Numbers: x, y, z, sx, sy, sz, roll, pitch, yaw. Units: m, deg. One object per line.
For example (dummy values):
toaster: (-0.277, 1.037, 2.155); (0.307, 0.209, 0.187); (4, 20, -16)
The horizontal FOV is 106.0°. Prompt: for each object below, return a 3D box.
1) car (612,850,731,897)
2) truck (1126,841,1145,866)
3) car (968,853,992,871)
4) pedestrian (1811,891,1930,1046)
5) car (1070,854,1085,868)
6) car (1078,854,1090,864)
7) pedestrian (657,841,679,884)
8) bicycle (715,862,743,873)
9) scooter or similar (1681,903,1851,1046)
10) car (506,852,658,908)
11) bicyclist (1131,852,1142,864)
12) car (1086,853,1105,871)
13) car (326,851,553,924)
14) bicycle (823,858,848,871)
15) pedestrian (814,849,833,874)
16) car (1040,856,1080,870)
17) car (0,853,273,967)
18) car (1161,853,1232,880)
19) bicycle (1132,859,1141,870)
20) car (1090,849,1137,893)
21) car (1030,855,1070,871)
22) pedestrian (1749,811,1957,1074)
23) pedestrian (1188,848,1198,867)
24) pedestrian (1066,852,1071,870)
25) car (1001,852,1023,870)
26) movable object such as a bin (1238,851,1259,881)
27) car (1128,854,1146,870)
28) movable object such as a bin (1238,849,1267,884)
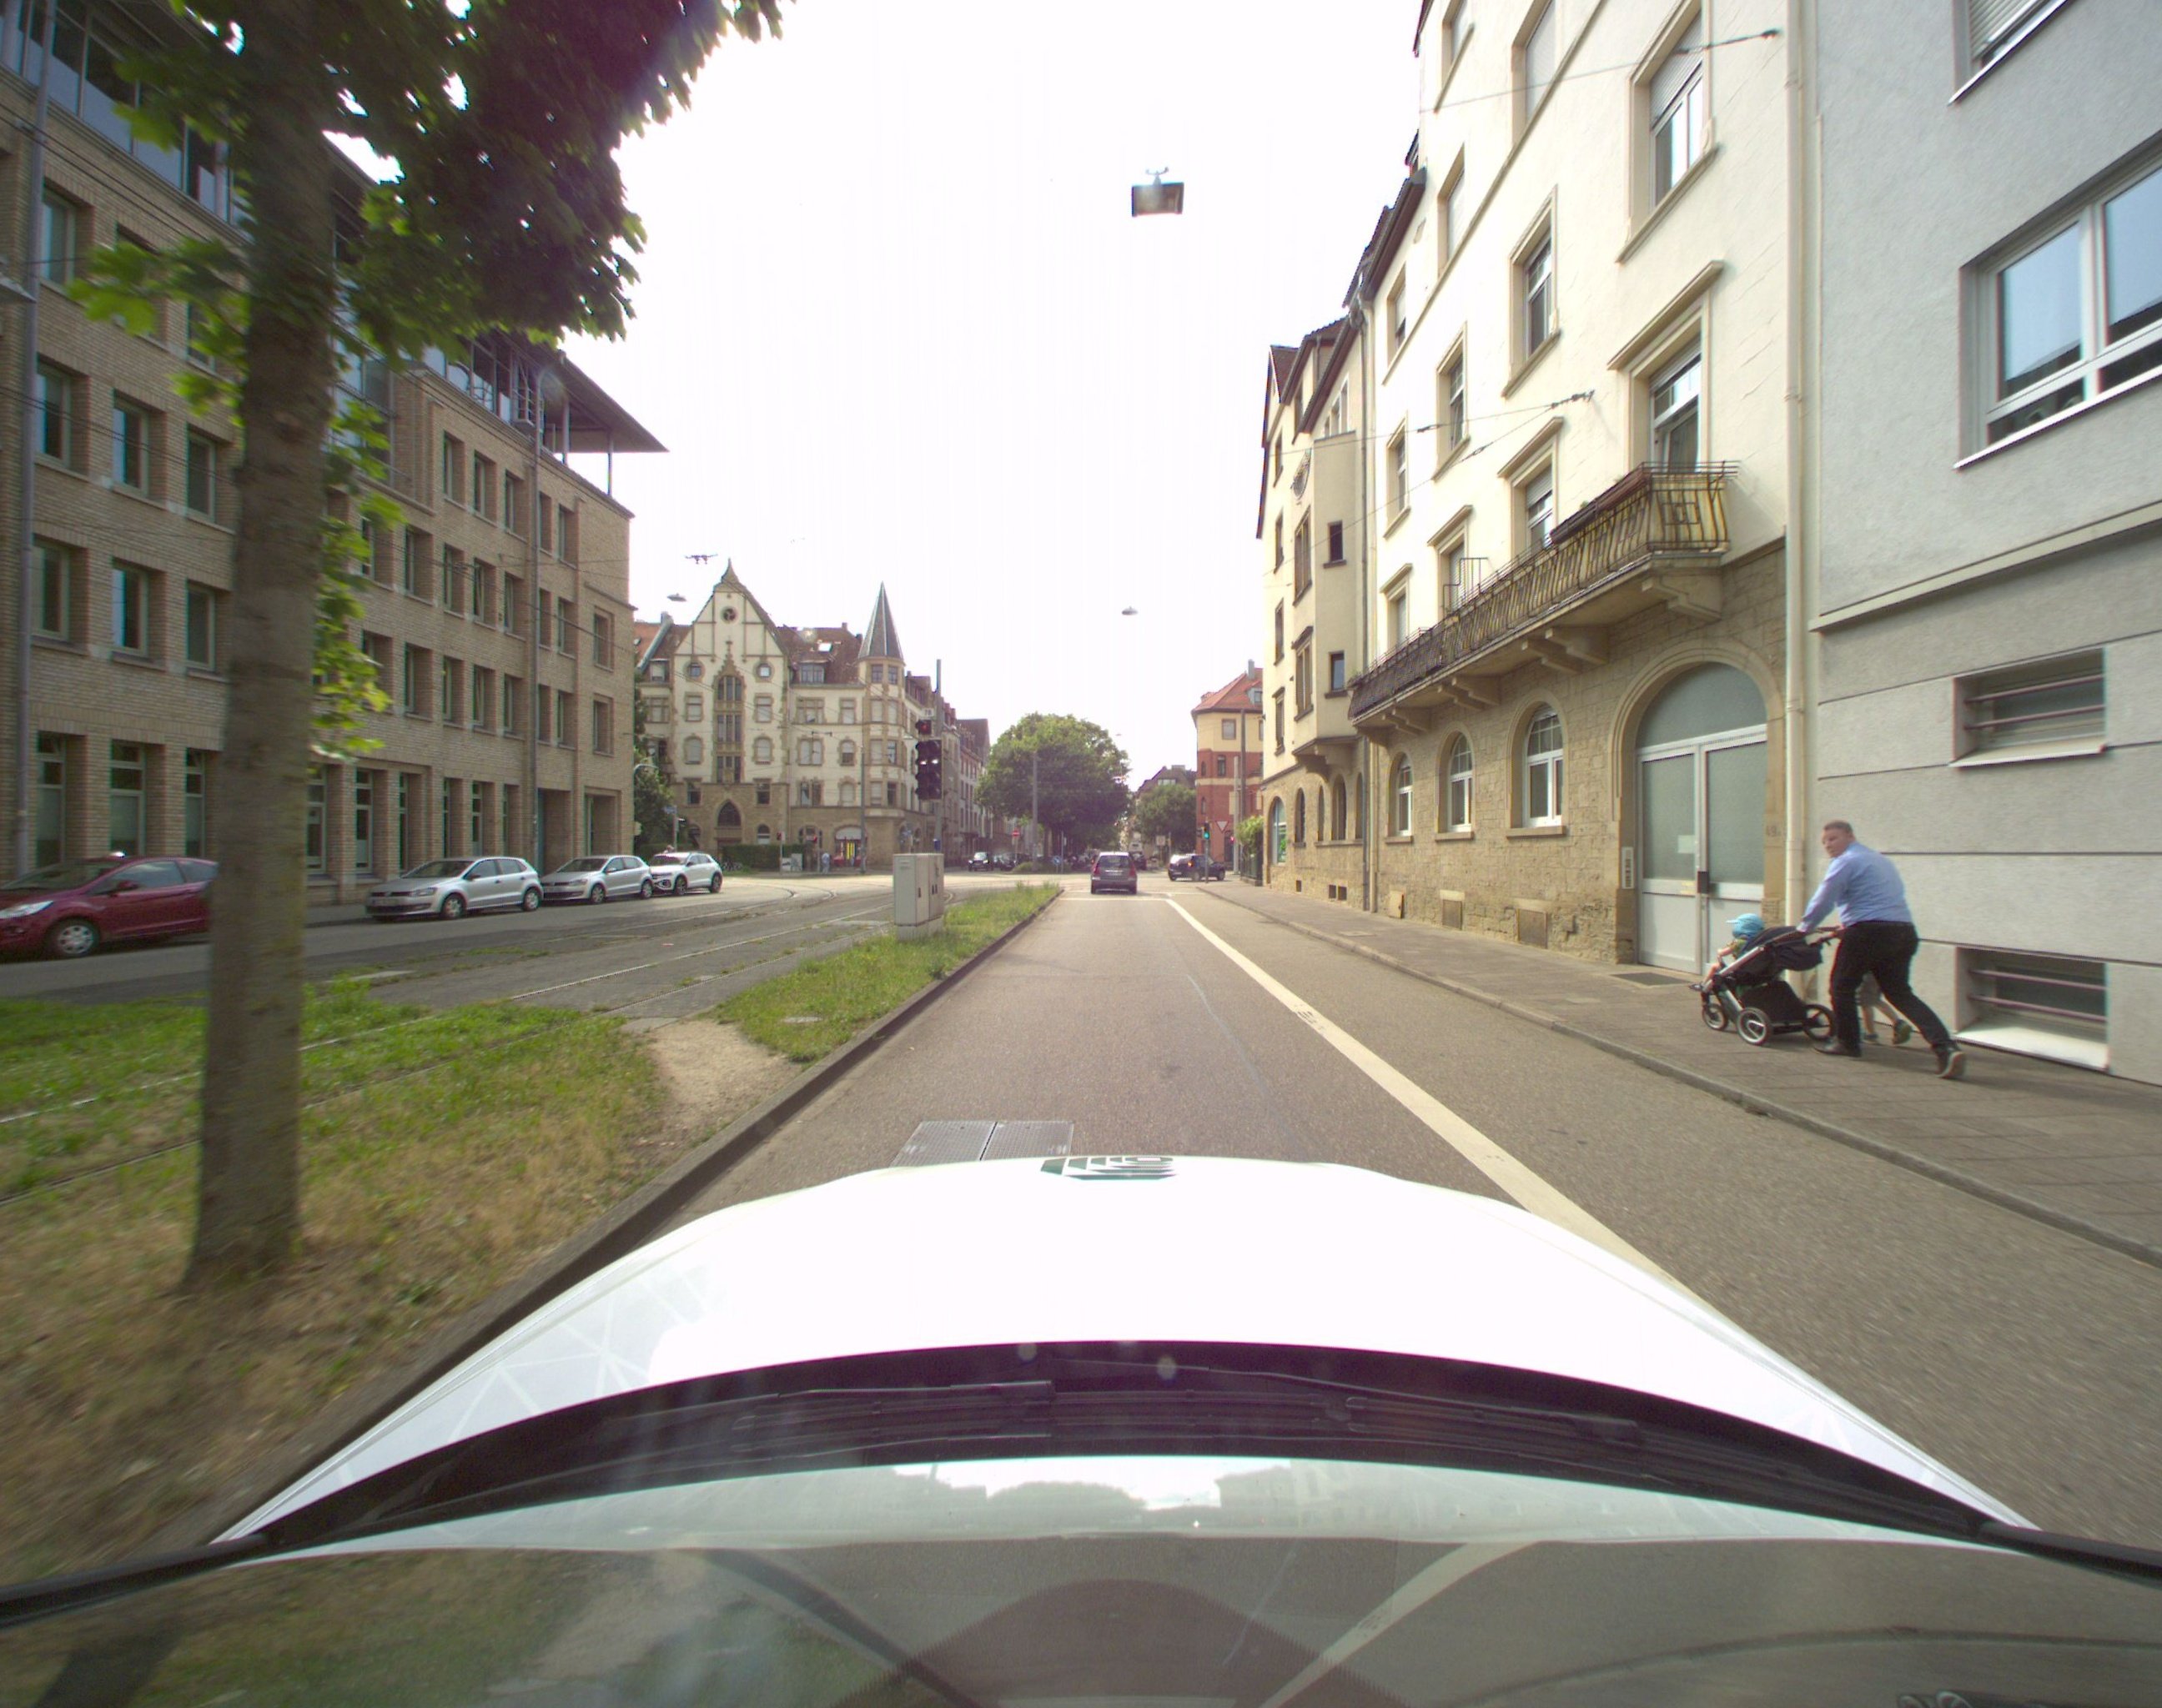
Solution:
car: (-14.533, 0.646, 29.221); (1.925, 1.535, 4.262); (0, 0, 3)
truck: (6.545, -0.032, 98.076); (2.112, 2.970, 4.007); (-1, 0, 6)
car: (-9.608, 0.726, 77.638); (1.989, 1.618, 3.996); (-1, 0, -3)
pedestrian: (6.128, 0.867, 6.341); (0.454, 1.135, 0.494); (0, 0, 3)
car: (-0.403, 0.857, 102.084); (1.745, 1.633, 3.502); (0, 0, 3)
car: (0.484, 0.742, 122.601); (1.745, 1.517, 3.502); (0, 0, 3)
pedestrian: (-17.548, 0.374, 34.650); (0.763, 1.795, 0.953); (0, 0, -23)
bicycle: (-27.159, 1.050, 62.908); (1.915, 0.848, 0.469); (-1, 0, -9)
scooter or similar: (5.563, 0.950, 6.673); (0.590, 1.002, 0.906); (-4, 0, 3)
car: (-14.847, 0.718, 24.540); (1.925, 1.530, 4.018); (0, 0, 3)
bicyclist: (4.865, 0.350, 71.463); (0.832, 1.082, 1.402); (-1, 0, 6)
car: (1.429, 0.758, 80.160); (1.715, 1.706, 3.680); (-1, 0, 3)
car: (-14.855, 0.695, 19.210); (1.843, 1.530, 4.214); (0, 0, 3)
bicycle: (-20.621, 0.867, 68.331); (1.915, 1.081, 0.776); (-1, 0, -9)
pedestrian: (-18.464, 0.538, 58.376); (1.029, 1.722, 0.767); (0, 0, -42)
car: (-2.106, 0.895, 80.205); (1.983, 1.339, 3.955); (0, 0, -37)
car: (-15.200, 0.751, 12.678); (1.576, 1.530, 3.552); (0, 0, 3)
car: (6.536, 0.689, 45.850); (4.023, 1.442, 1.962); (0, 0, -45)
bicycle: (4.880, 0.922, 71.553); (0.745, 0.958, 2.303); (-1, 0, 6)
car: (1.301, 0.619, 31.978); (1.715, 1.605, 3.680); (-1, 0, 3)
car: (-2.987, 0.823, 77.613); (1.983, 1.495, 3.955); (0, 0, -37)
pedestrian: (5.529, 0.591, 5.892); (0.618, 1.738, 0.878); (-2, 0, 3)
pedestrian: (9.777, 0.315, 71.309); (0.864, 1.656, 0.738); (0, 0, 6)
pedestrian: (-1.133, 0.637, 75.324); (0.491, 1.725, 0.653); (0, 0, -1)
car: (-6.654, 0.677, 79.074); (1.989, 1.728, 3.996); (-1, 0, -3)
movable object such as a bin: (8.318, 0.596, 40.442); (0.714, 1.472, 0.980); (-1, 0, -7)
car: (5.918, 0.815, 85.221); (1.743, 1.633, 3.505); (0, 0, 6)
movable object such as a bin: (8.019, 0.573, 38.158); (1.045, 1.539, 2.102); (-1, 0, 4)
